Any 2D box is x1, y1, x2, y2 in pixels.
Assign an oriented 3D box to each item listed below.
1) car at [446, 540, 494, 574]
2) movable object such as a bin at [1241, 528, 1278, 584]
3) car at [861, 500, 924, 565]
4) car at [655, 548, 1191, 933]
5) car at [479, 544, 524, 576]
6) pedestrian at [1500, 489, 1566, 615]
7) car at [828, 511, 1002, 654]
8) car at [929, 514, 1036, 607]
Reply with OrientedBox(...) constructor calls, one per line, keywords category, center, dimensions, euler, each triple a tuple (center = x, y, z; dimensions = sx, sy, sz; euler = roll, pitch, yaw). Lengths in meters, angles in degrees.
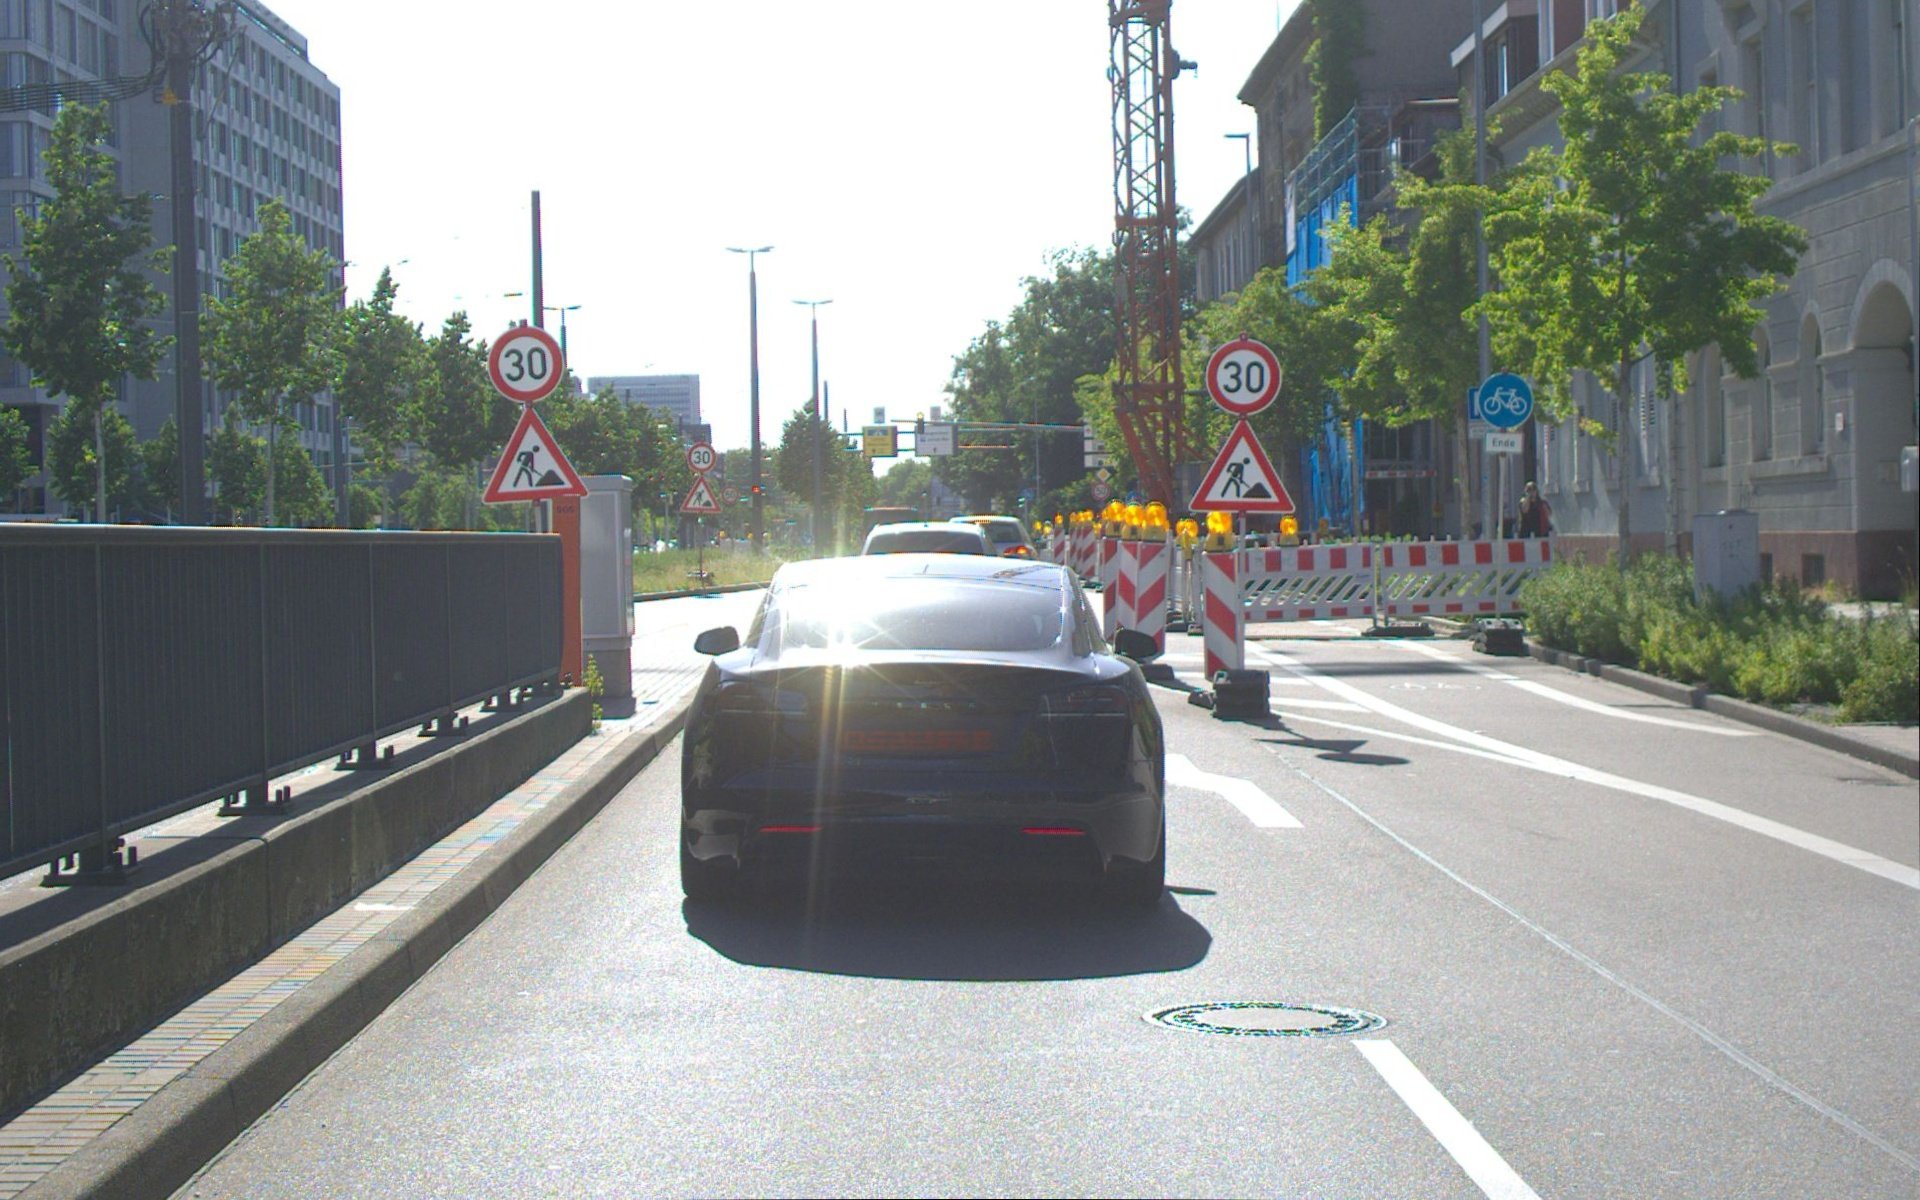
OrientedBox(category="car", center=(-24.694, -2.200, 173.363), dimensions=(1.790, 1.645, 4.000), euler=(-2, 1, 0))
OrientedBox(category="movable object such as a bin", center=(5.927, -0.874, 68.120), dimensions=(0.595, 1.054, 0.730), euler=(-5, 1, 1))
OrientedBox(category="car", center=(-2.401, -2.406, 121.572), dimensions=(2.218, 2.259, 4.484), euler=(0, 1, -1))
OrientedBox(category="car", center=(-0.167, 0.505, 15.431), dimensions=(2.051, 1.439, 4.525), euler=(0, 1, -1))
OrientedBox(category="car", center=(-24.206, -2.137, 181.678), dimensions=(1.790, 1.645, 4.000), euler=(-2, 1, 0))
OrientedBox(category="pedestrian", center=(8.832, -0.743, 52.994), dimensions=(0.793, 1.922, 0.770), euler=(-1, 1, -10))
OrientedBox(category="car", center=(-0.480, -0.227, 37.017), dimensions=(1.747, 1.422, 4.838), euler=(0, 1, -1))
OrientedBox(category="car", center=(0.374, -0.694, 58.414), dimensions=(1.749, 1.522, 4.005), euler=(0, 1, 0))
